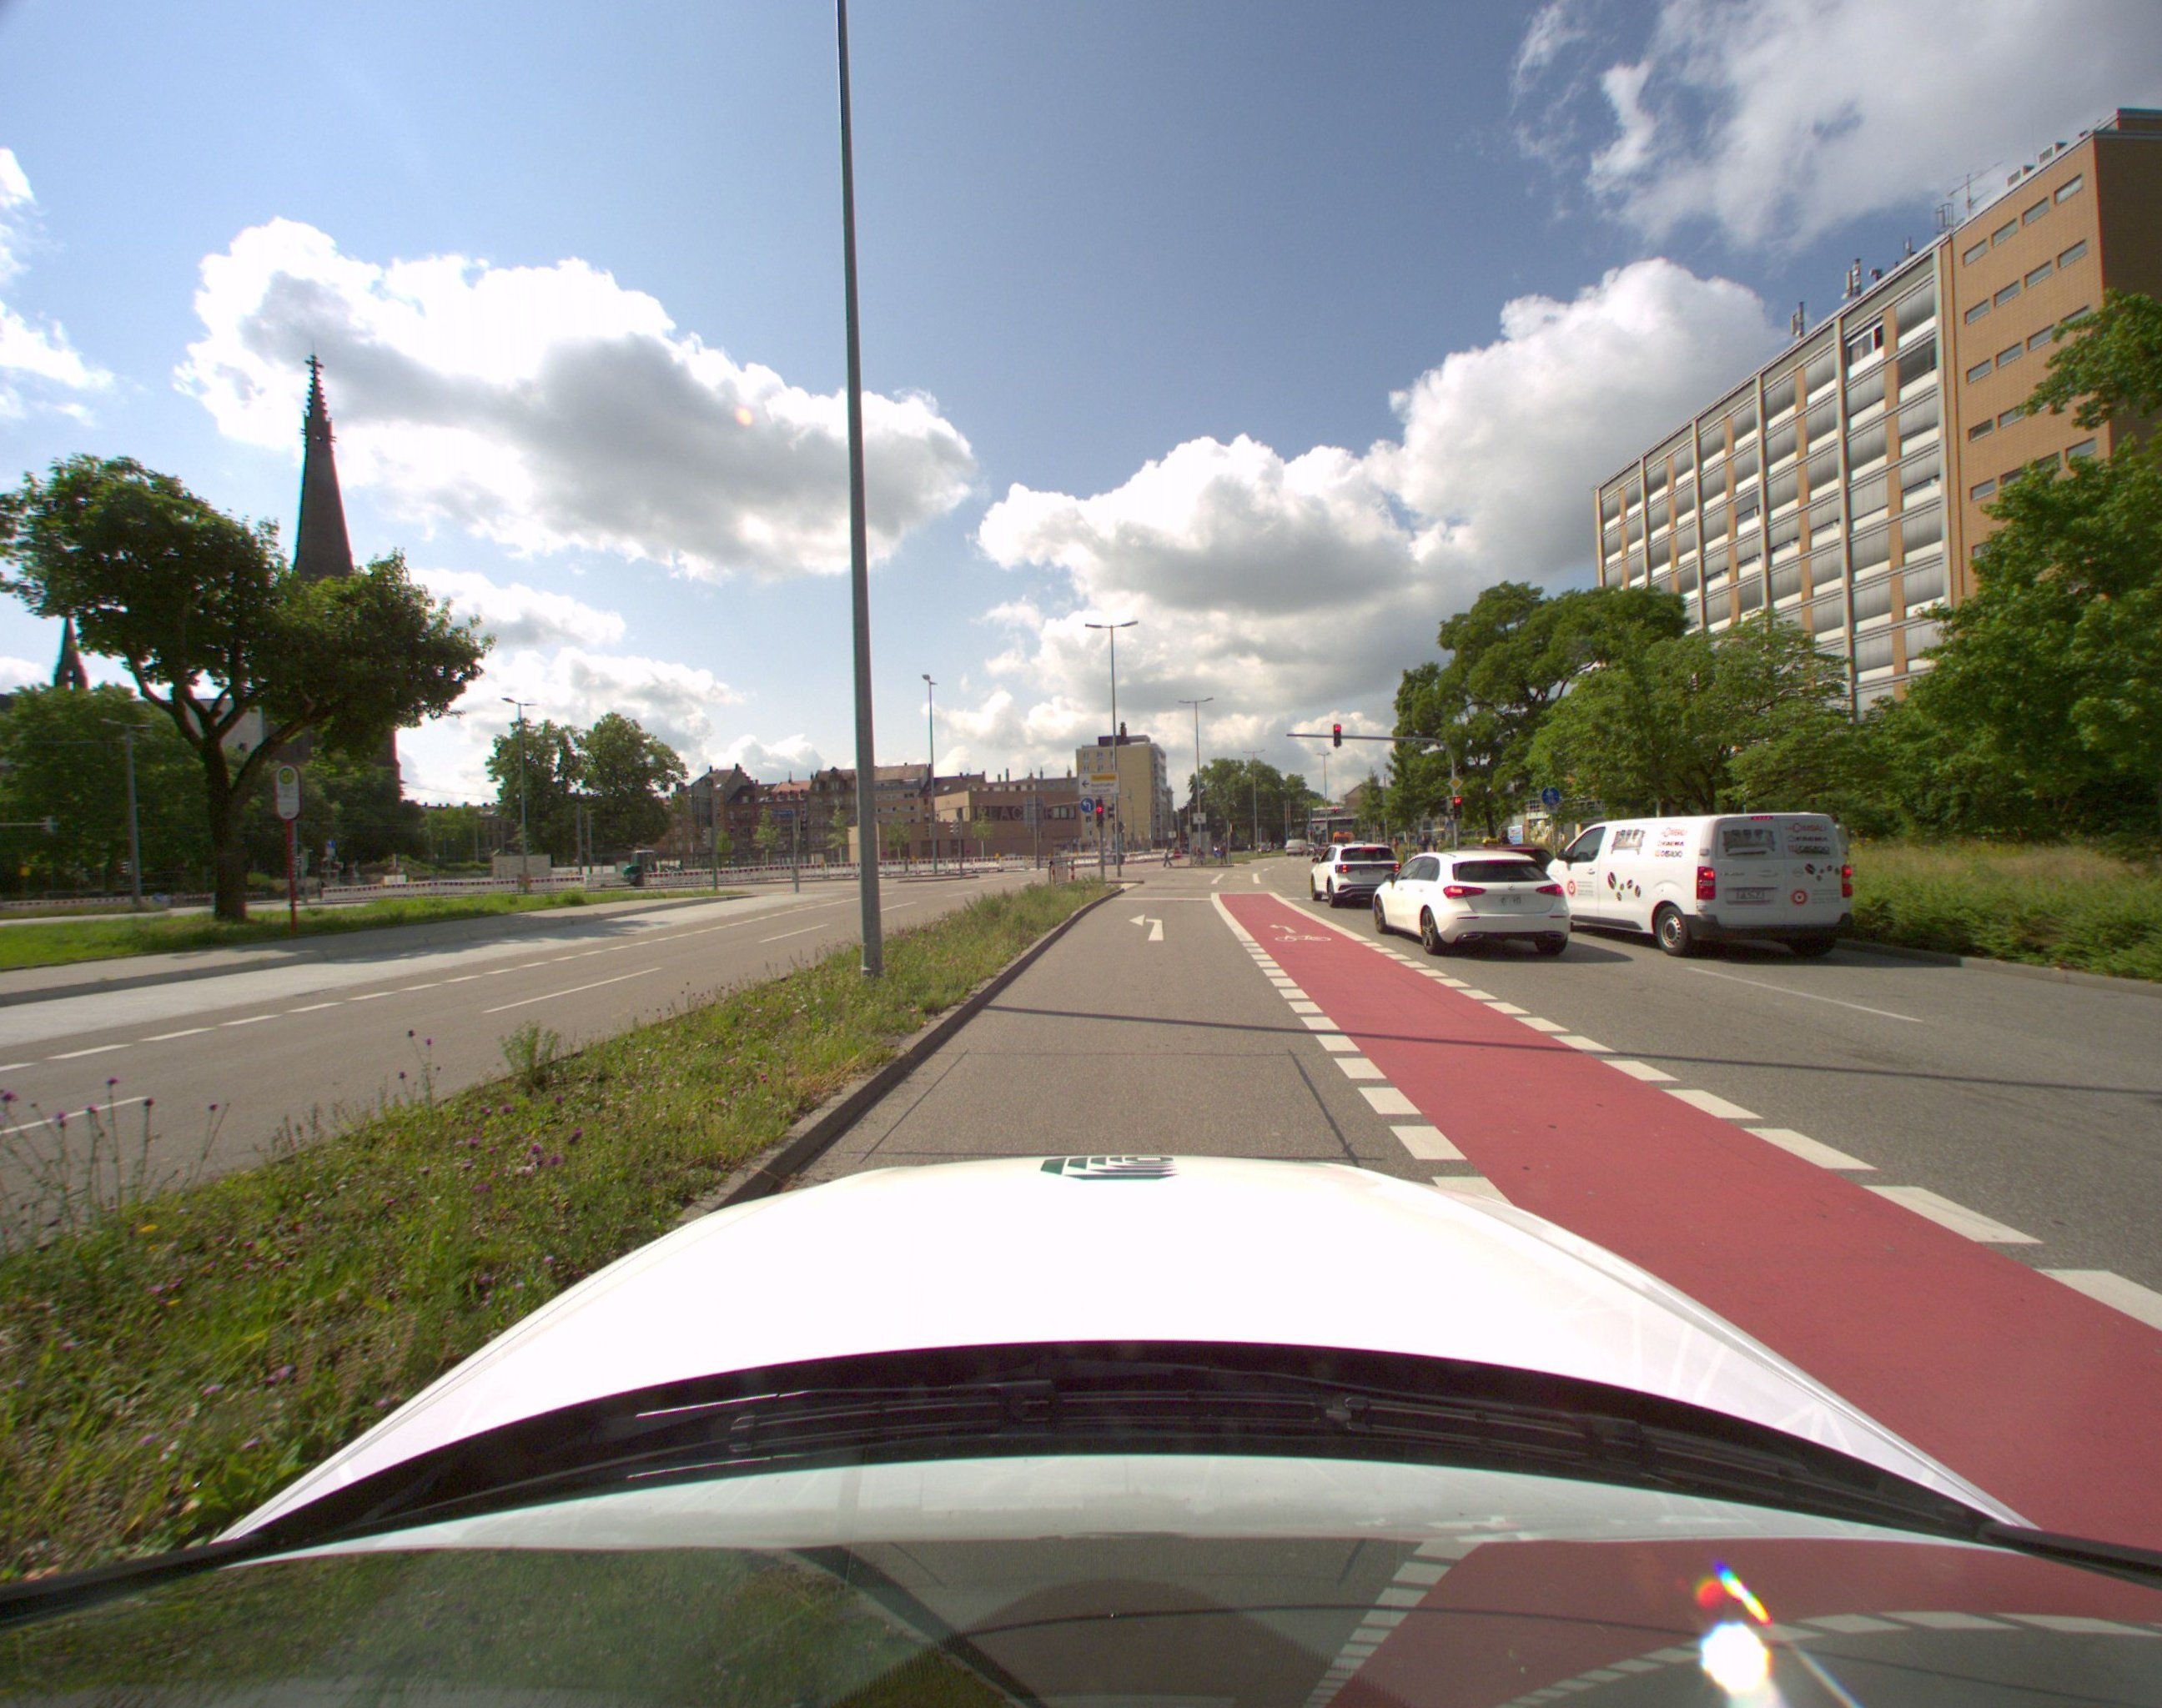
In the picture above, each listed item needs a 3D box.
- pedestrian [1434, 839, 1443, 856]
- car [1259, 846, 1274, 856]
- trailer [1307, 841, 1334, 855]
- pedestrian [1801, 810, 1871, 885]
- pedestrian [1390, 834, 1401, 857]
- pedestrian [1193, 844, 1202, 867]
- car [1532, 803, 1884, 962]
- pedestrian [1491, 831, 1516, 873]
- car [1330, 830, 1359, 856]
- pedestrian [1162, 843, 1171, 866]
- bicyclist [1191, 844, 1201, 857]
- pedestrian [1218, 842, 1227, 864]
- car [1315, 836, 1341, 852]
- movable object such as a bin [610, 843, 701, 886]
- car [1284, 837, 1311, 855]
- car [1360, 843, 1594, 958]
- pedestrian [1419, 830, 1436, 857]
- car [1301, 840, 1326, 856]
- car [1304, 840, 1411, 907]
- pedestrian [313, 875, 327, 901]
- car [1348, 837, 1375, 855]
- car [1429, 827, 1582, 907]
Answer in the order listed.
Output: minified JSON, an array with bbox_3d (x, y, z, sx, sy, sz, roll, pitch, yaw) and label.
[{"bbox_3d":[38.803,-0.732,88.463,0.780,1.784,0.671,-2,0,30],"label":"pedestrian"},{"bbox_3d":[28.639,-0.480,125.739,1.777,1.388,4.247,-2,0,18],"label":"car"},{"bbox_3d":[28.055,-0.688,95.340,1.974,1.477,4.025,-3,0,31],"label":"trailer"},{"bbox_3d":[17.025,-0.147,18.382,0.863,1.638,0.722,-2,0,7],"label":"pedestrian"},{"bbox_3d":[24.724,-0.670,64.027,0.655,1.733,0.580,-2,0,18],"label":"pedestrian"},{"bbox_3d":[8.759,0.117,61.420,0.521,1.733,0.626,-2,0,15],"label":"pedestrian"},{"bbox_3d":[8.890,0.321,12.248,1.932,1.870,4.834,-2,0,6],"label":"car"},{"bbox_3d":[17.802,-0.092,34.318,0.737,1.735,0.681,-2,0,15],"label":"pedestrian"},{"bbox_3d":[29.772,-1.281,92.066,2.109,2.780,4.668,-3,0,29],"label":"car"},{"bbox_3d":[6.672,0.052,63.441,0.521,1.733,0.626,-2,0,15],"label":"pedestrian"},{"bbox_3d":[17.620,-0.510,124.425,1.208,1.909,0.863,-2,0,26],"label":"bicyclist"},{"bbox_3d":[10.925,-0.105,62.873,0.521,1.684,0.626,-2,0,15],"label":"pedestrian"},{"bbox_3d":[29.883,-1.214,98.418,1.974,1.826,4.025,-3,0,31],"label":"car"},{"bbox_3d":[-31.422,0.754,60.240,5.572,2.884,2.260,-2,0,-41],"label":"movable object such as a bin"},{"bbox_3d":[26.045,-1.003,98.003,1.986,1.966,4.668,-3,0,29],"label":"car"},{"bbox_3d":[5.859,0.576,12.706,1.894,1.424,4.393,-2,1,6],"label":"car"},{"bbox_3d":[20.008,-0.622,47.000,0.765,1.508,0.554,-2,0,11],"label":"pedestrian"},{"bbox_3d":[30.179,-0.747,105.477,1.972,1.938,4.668,-3,0,29],"label":"car"},{"bbox_3d":[6.994,0.435,21.008,1.782,1.539,4.018,0,1,6],"label":"car"},{"bbox_3d":[-55.402,2.457,59.274,0.524,1.850,0.501,-3,0,12],"label":"pedestrian"},{"bbox_3d":[29.322,-0.862,85.063,1.974,1.795,4.025,-3,0,29],"label":"car"},{"bbox_3d":[9.971,0.253,19.539,1.672,1.641,4.470,-2,0,6],"label":"car"}]
